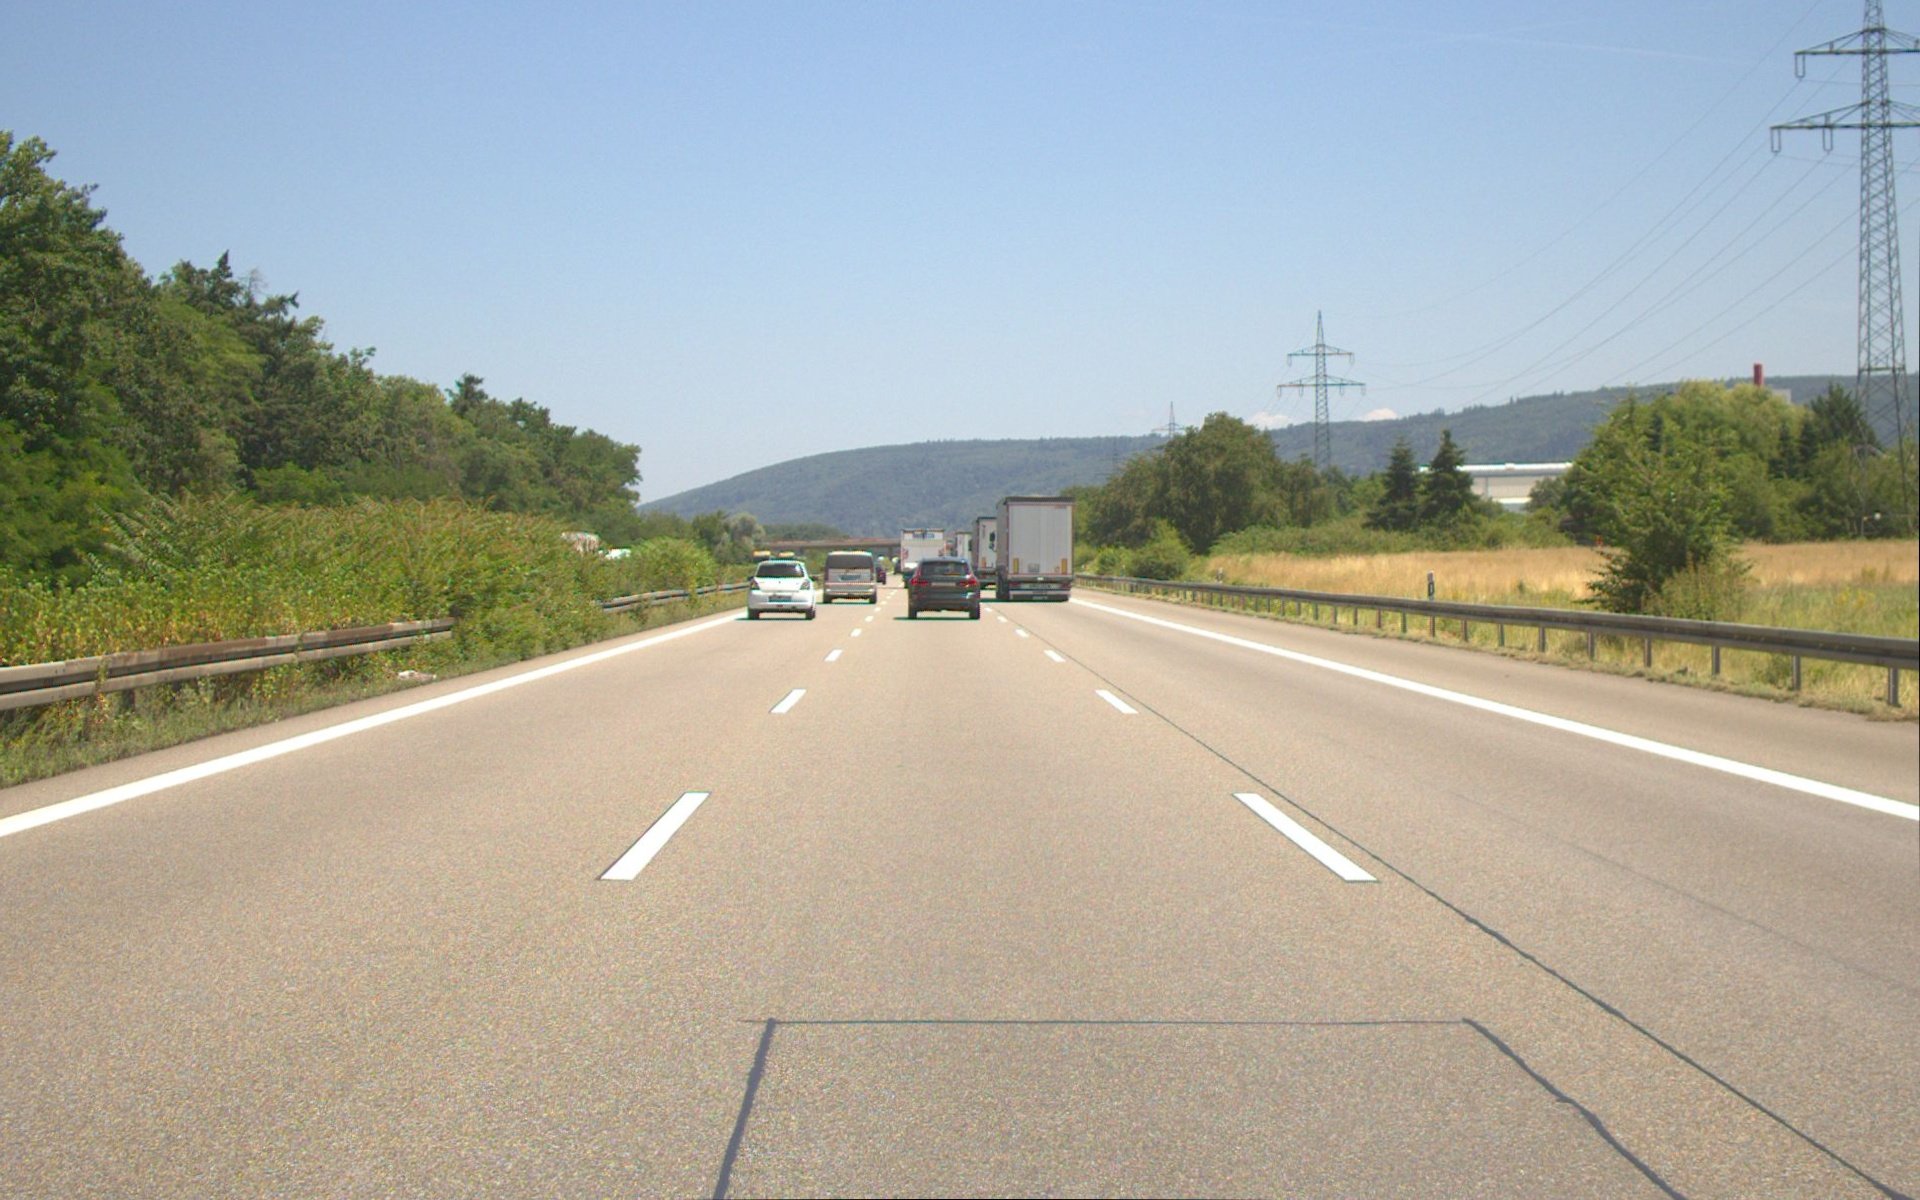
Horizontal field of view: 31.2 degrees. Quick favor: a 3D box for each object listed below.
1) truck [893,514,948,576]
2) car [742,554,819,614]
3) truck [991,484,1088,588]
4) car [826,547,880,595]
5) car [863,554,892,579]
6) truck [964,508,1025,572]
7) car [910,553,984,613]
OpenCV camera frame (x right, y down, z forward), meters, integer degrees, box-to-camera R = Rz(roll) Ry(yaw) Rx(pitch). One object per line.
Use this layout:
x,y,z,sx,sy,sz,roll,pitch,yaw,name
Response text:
-2.367,-3.248,202.260,3.097,3.462,11.543,1,1,-1,truck
-4.663,-0.429,89.543,1.806,1.463,4.000,1,1,0,car
3.039,-2.534,134.729,3.265,3.844,11.632,1,1,-1,truck
-3.869,-1.064,124.462,1.852,1.627,4.000,1,1,0,car
-5.535,-2.287,231.939,1.852,1.627,4.000,1,1,0,car
1.898,-3.402,195.208,3.097,3.462,11.543,1,1,-1,truck
-0.351,-0.465,90.772,1.885,1.510,4.000,1,1,0,car
